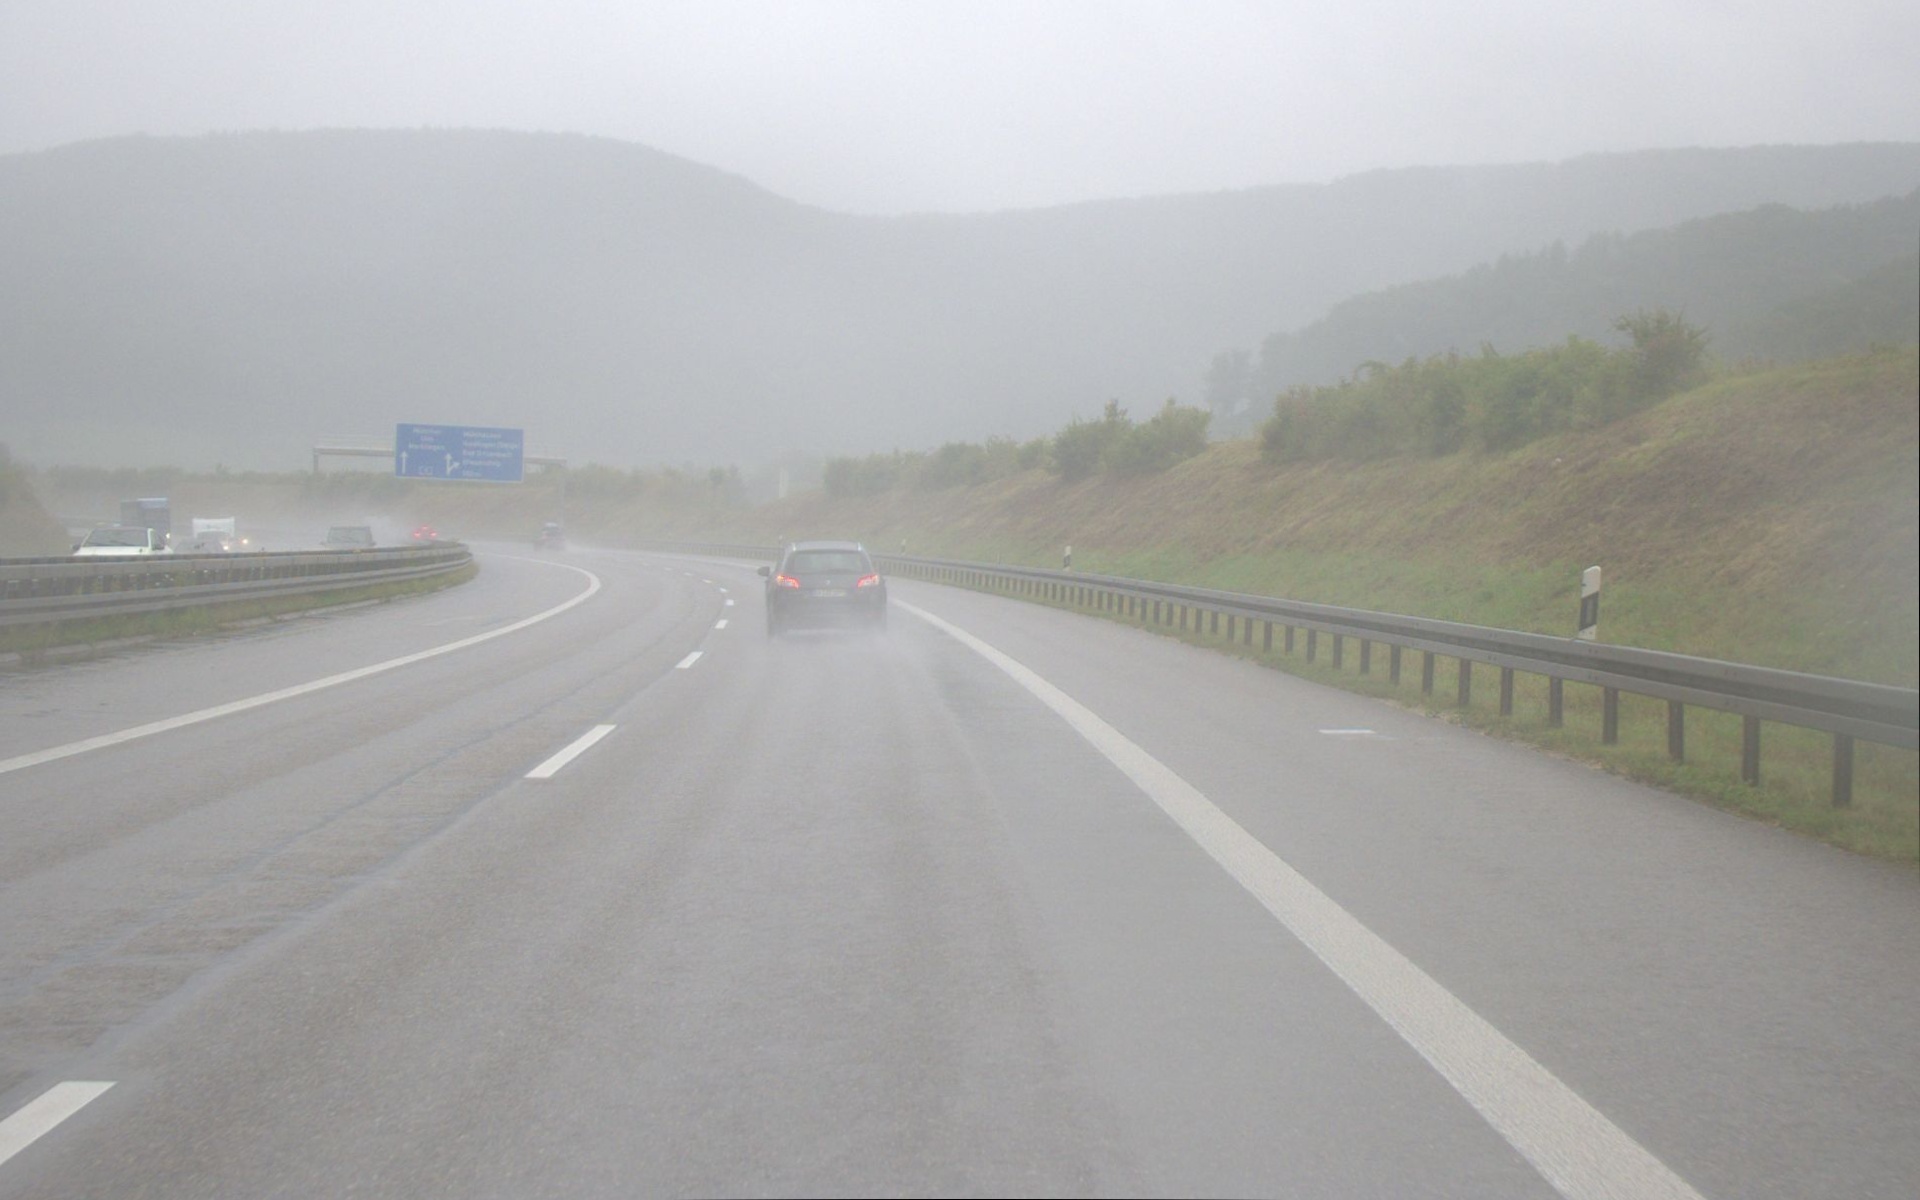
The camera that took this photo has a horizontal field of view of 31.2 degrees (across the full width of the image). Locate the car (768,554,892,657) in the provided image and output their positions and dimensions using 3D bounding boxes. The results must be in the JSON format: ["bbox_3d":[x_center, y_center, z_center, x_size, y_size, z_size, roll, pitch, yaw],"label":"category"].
[{"bbox_3d":[-1.994,0.055,51.817,1.679,1.467,3.815,0,1,-5],"label":"car"}]
